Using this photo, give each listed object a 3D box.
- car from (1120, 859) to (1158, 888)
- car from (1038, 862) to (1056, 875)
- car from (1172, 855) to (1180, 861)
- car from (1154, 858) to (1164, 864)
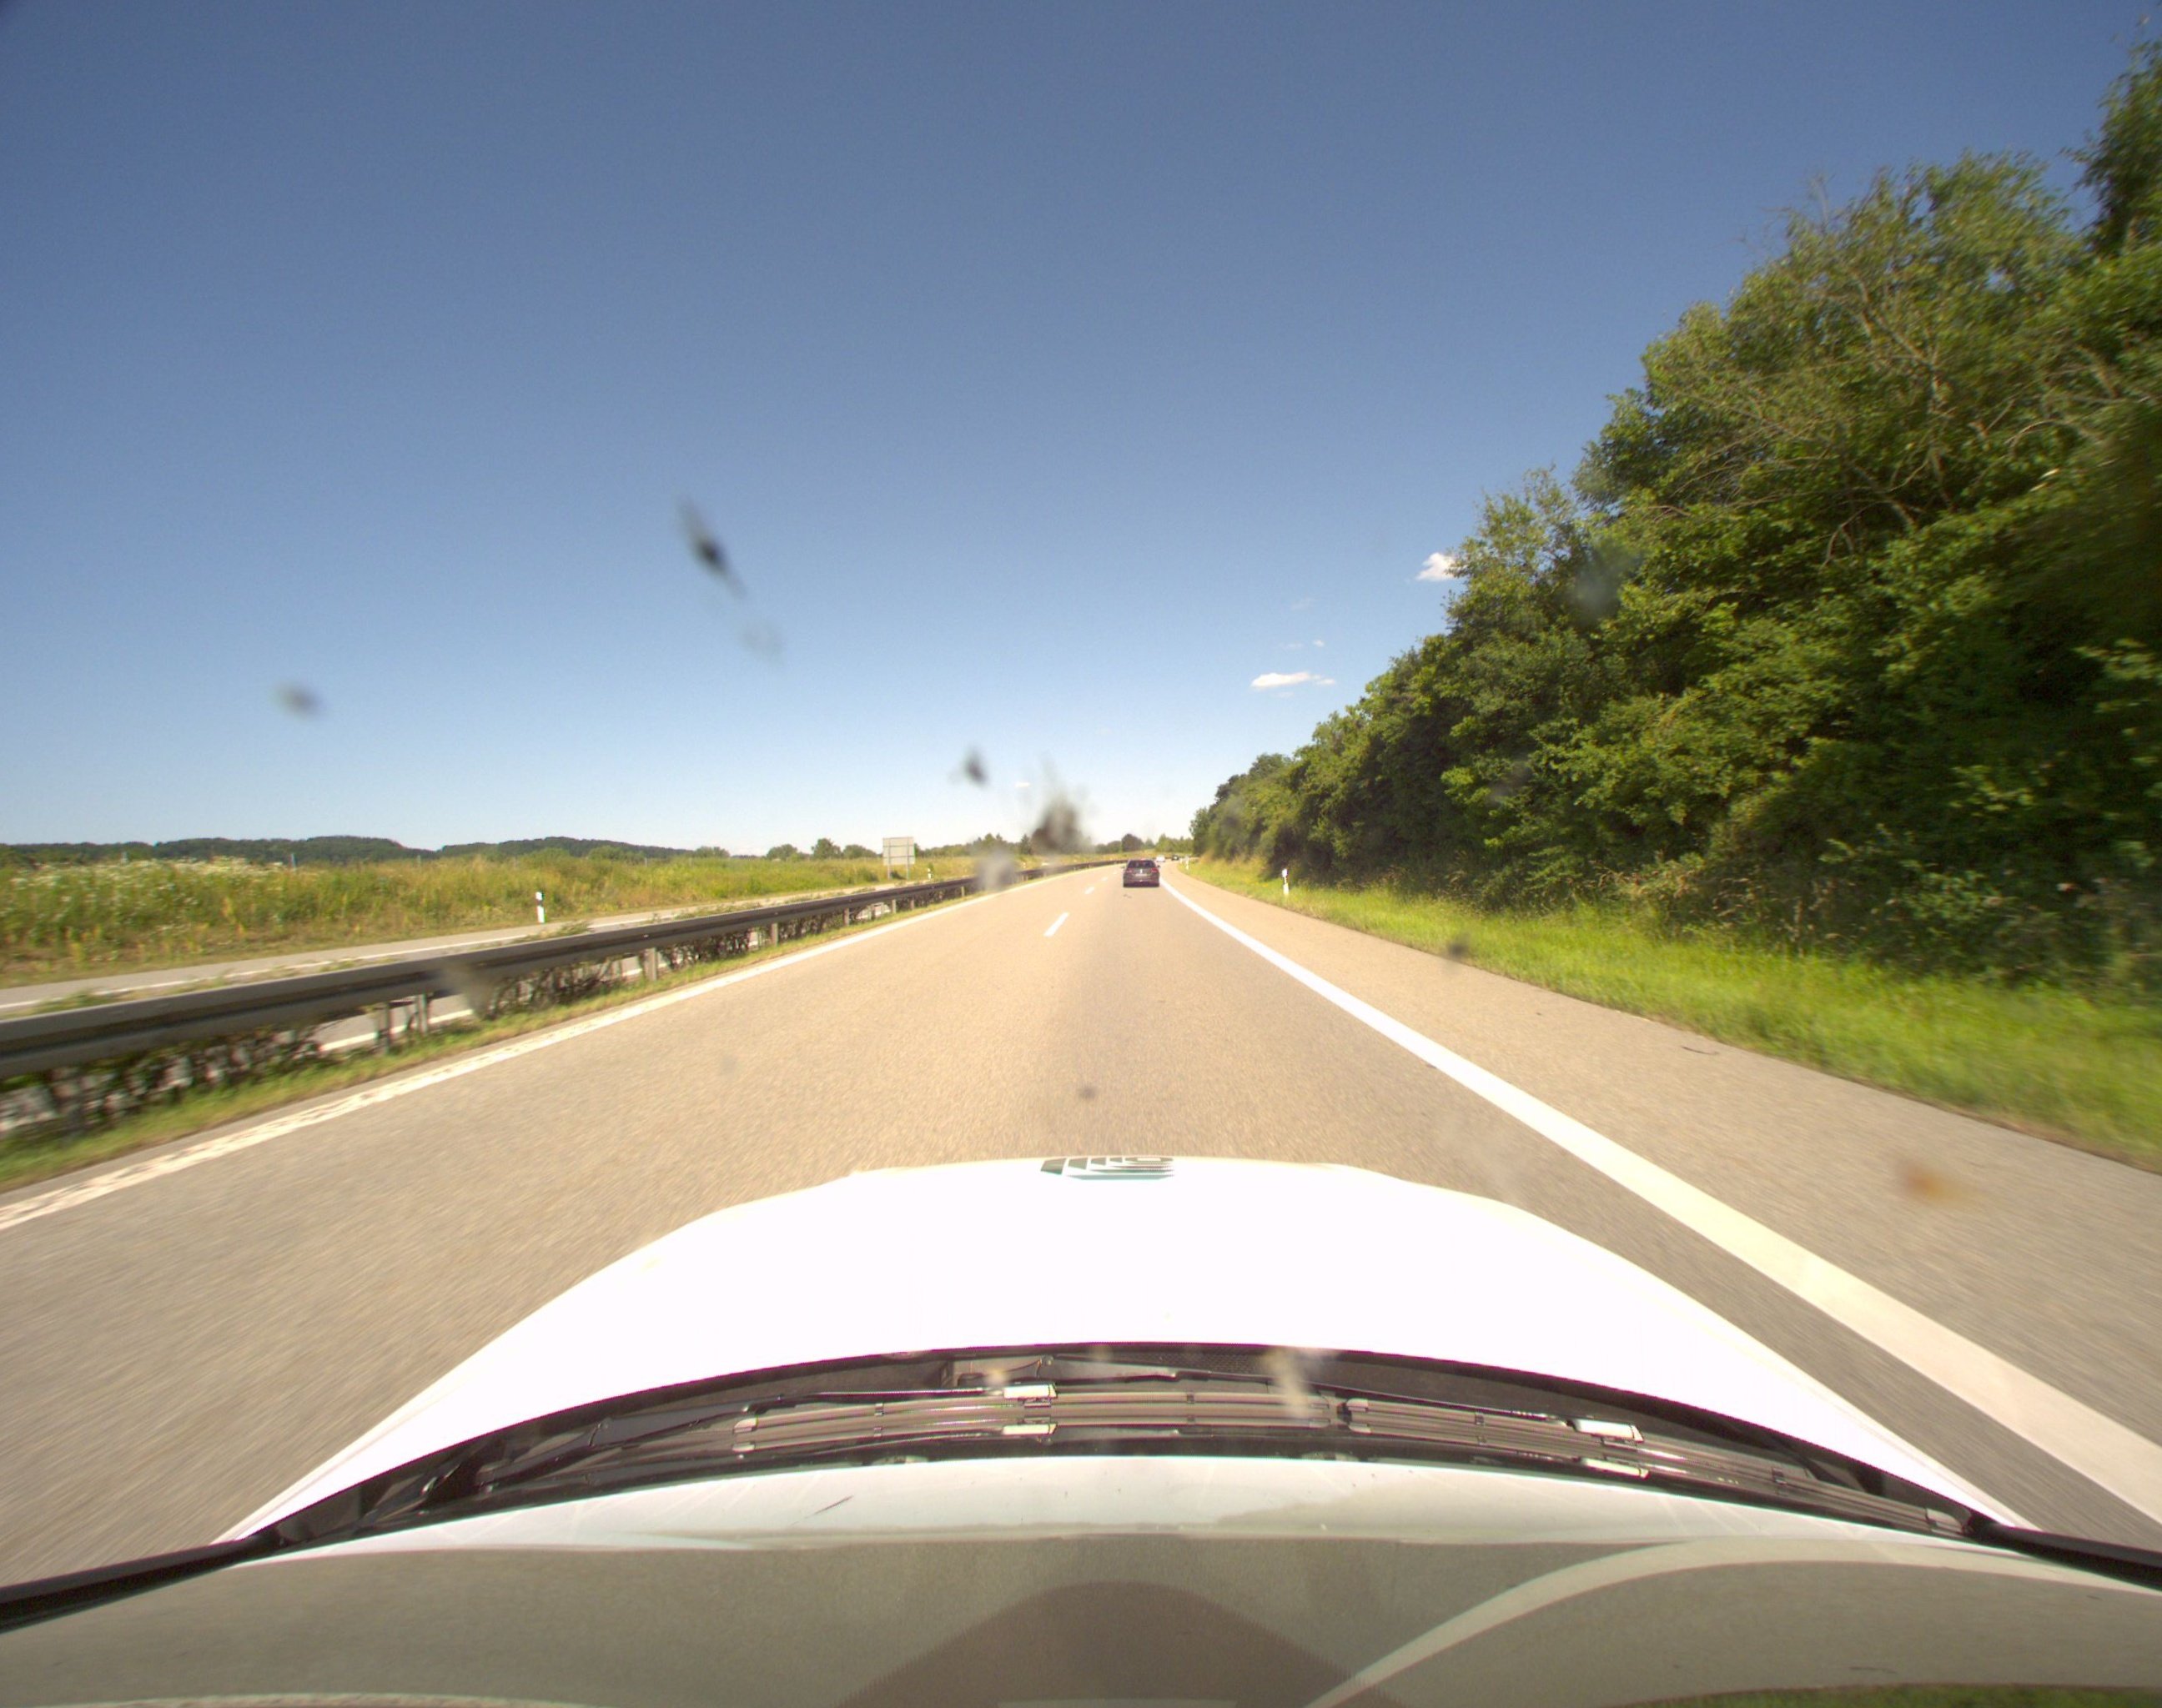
[{"bbox_3d":[2.857,0.935,40.476,1.783,1.344,4.003,0,-1,3],"label":"car"},{"bbox_3d":[-4.963,2.112,120.821,1.756,1.623,5.018,-5,0,7],"label":"car"},{"bbox_3d":[23.577,0.954,202.237,1.699,1.387,3.366,0,-1,12],"label":"car"},{"bbox_3d":[16.568,1.479,173.612,1.998,1.345,4.004,0,-1,4],"label":"car"}]
